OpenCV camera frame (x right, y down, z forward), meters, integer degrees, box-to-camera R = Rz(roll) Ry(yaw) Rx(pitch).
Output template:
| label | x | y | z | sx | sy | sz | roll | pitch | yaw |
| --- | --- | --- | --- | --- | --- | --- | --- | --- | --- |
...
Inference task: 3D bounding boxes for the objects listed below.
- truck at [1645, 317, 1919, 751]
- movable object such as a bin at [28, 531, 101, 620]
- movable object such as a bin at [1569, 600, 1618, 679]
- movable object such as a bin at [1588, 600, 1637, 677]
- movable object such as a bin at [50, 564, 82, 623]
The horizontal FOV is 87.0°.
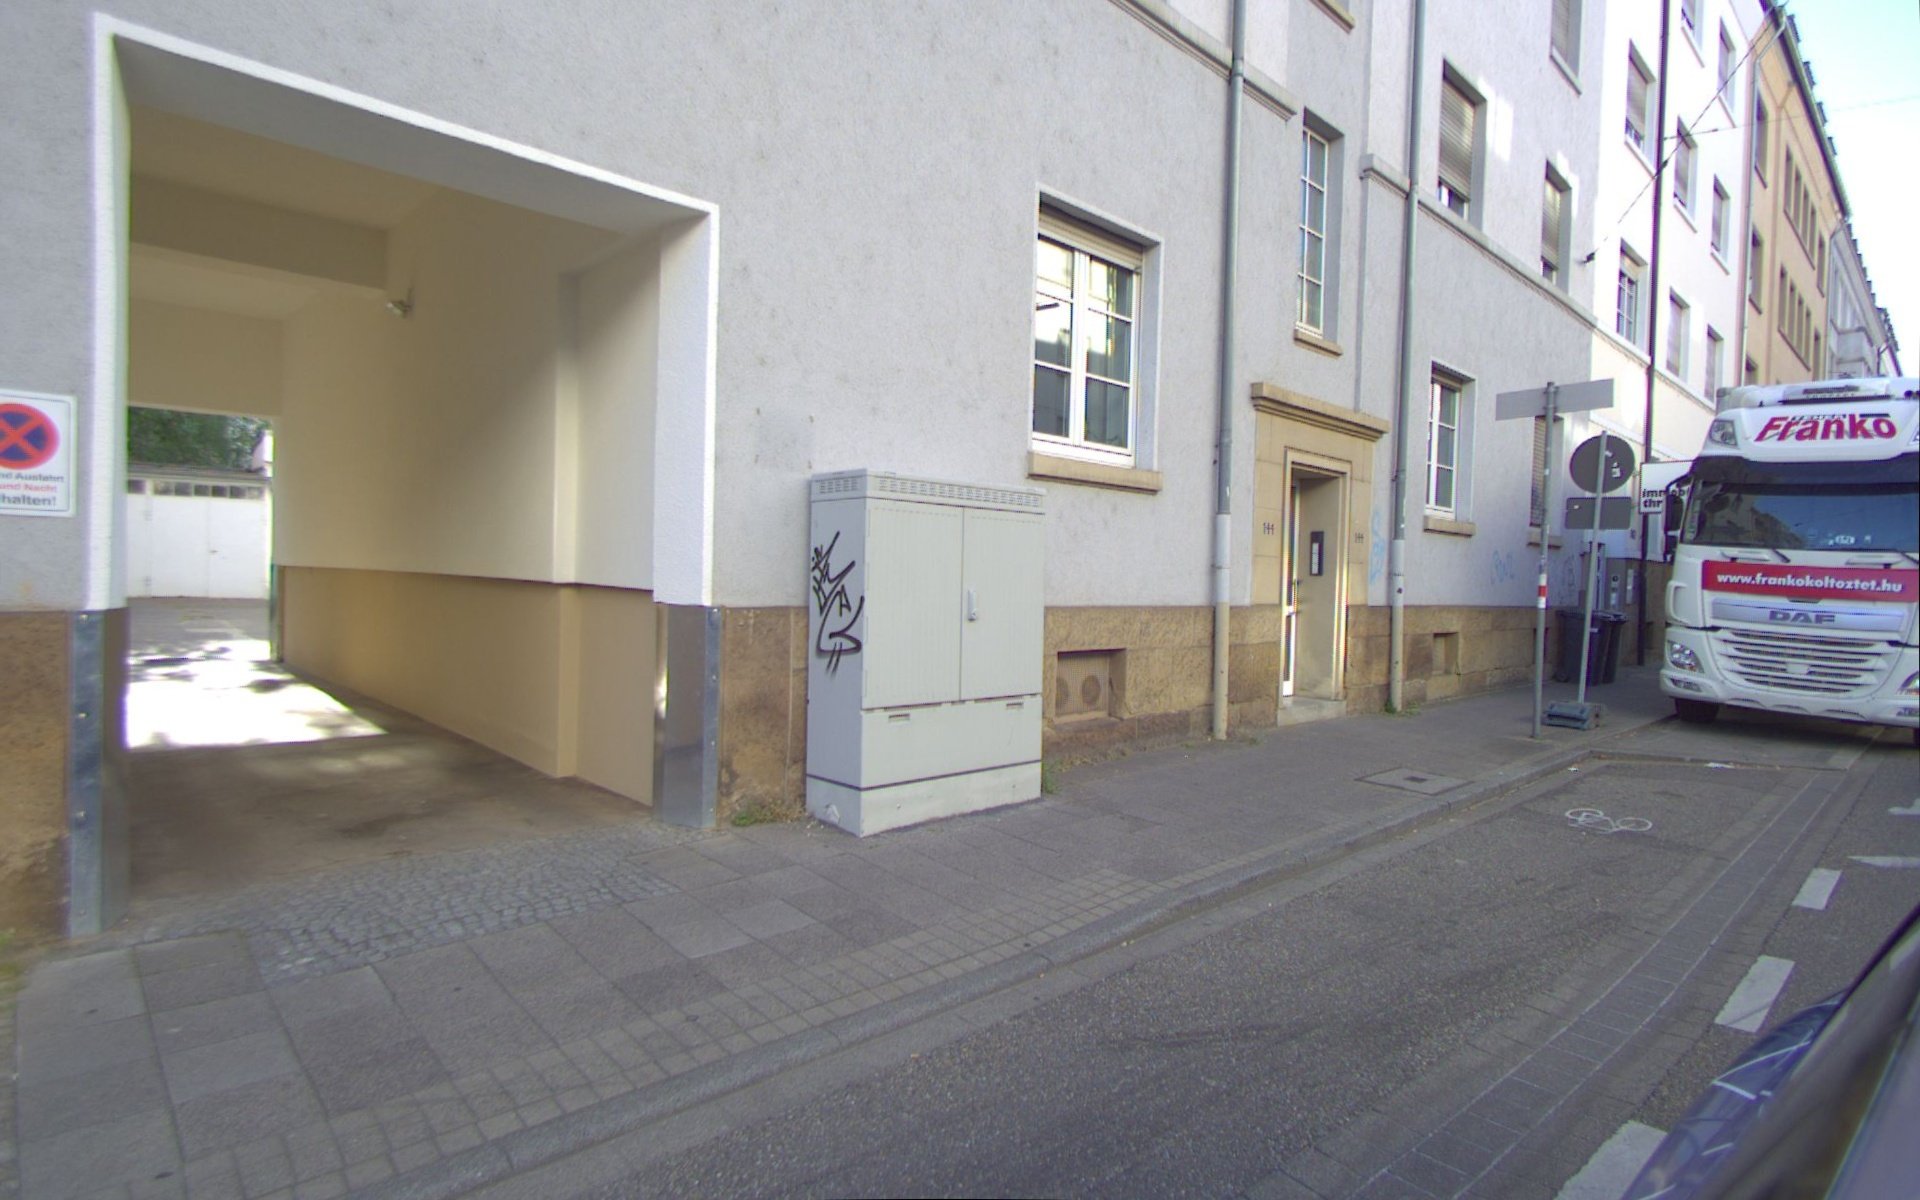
| label | x | y | z | sx | sy | sz | roll | pitch | yaw |
| --- | --- | --- | --- | --- | --- | --- | --- | --- | --- |
| truck | 12.556 | -0.605 | 13.870 | 11.511 | 4.012 | 2.894 | 0 | 0 | -44 |
| movable object such as a bin | -14.780 | -0.407 | 16.699 | 0.874 | 1.409 | 0.758 | 0 | 4 | -44 |
| movable object such as a bin | 9.112 | 0.556 | 14.557 | 0.511 | 1.106 | 0.488 | 0 | 0 | 45 |
| movable object such as a bin | 9.624 | 0.554 | 14.925 | 0.511 | 1.106 | 0.488 | 0 | 0 | 45 |
| movable object such as a bin | -14.313 | -0.106 | 16.200 | 0.366 | 0.919 | 0.420 | 0 | 3 | -44 |
